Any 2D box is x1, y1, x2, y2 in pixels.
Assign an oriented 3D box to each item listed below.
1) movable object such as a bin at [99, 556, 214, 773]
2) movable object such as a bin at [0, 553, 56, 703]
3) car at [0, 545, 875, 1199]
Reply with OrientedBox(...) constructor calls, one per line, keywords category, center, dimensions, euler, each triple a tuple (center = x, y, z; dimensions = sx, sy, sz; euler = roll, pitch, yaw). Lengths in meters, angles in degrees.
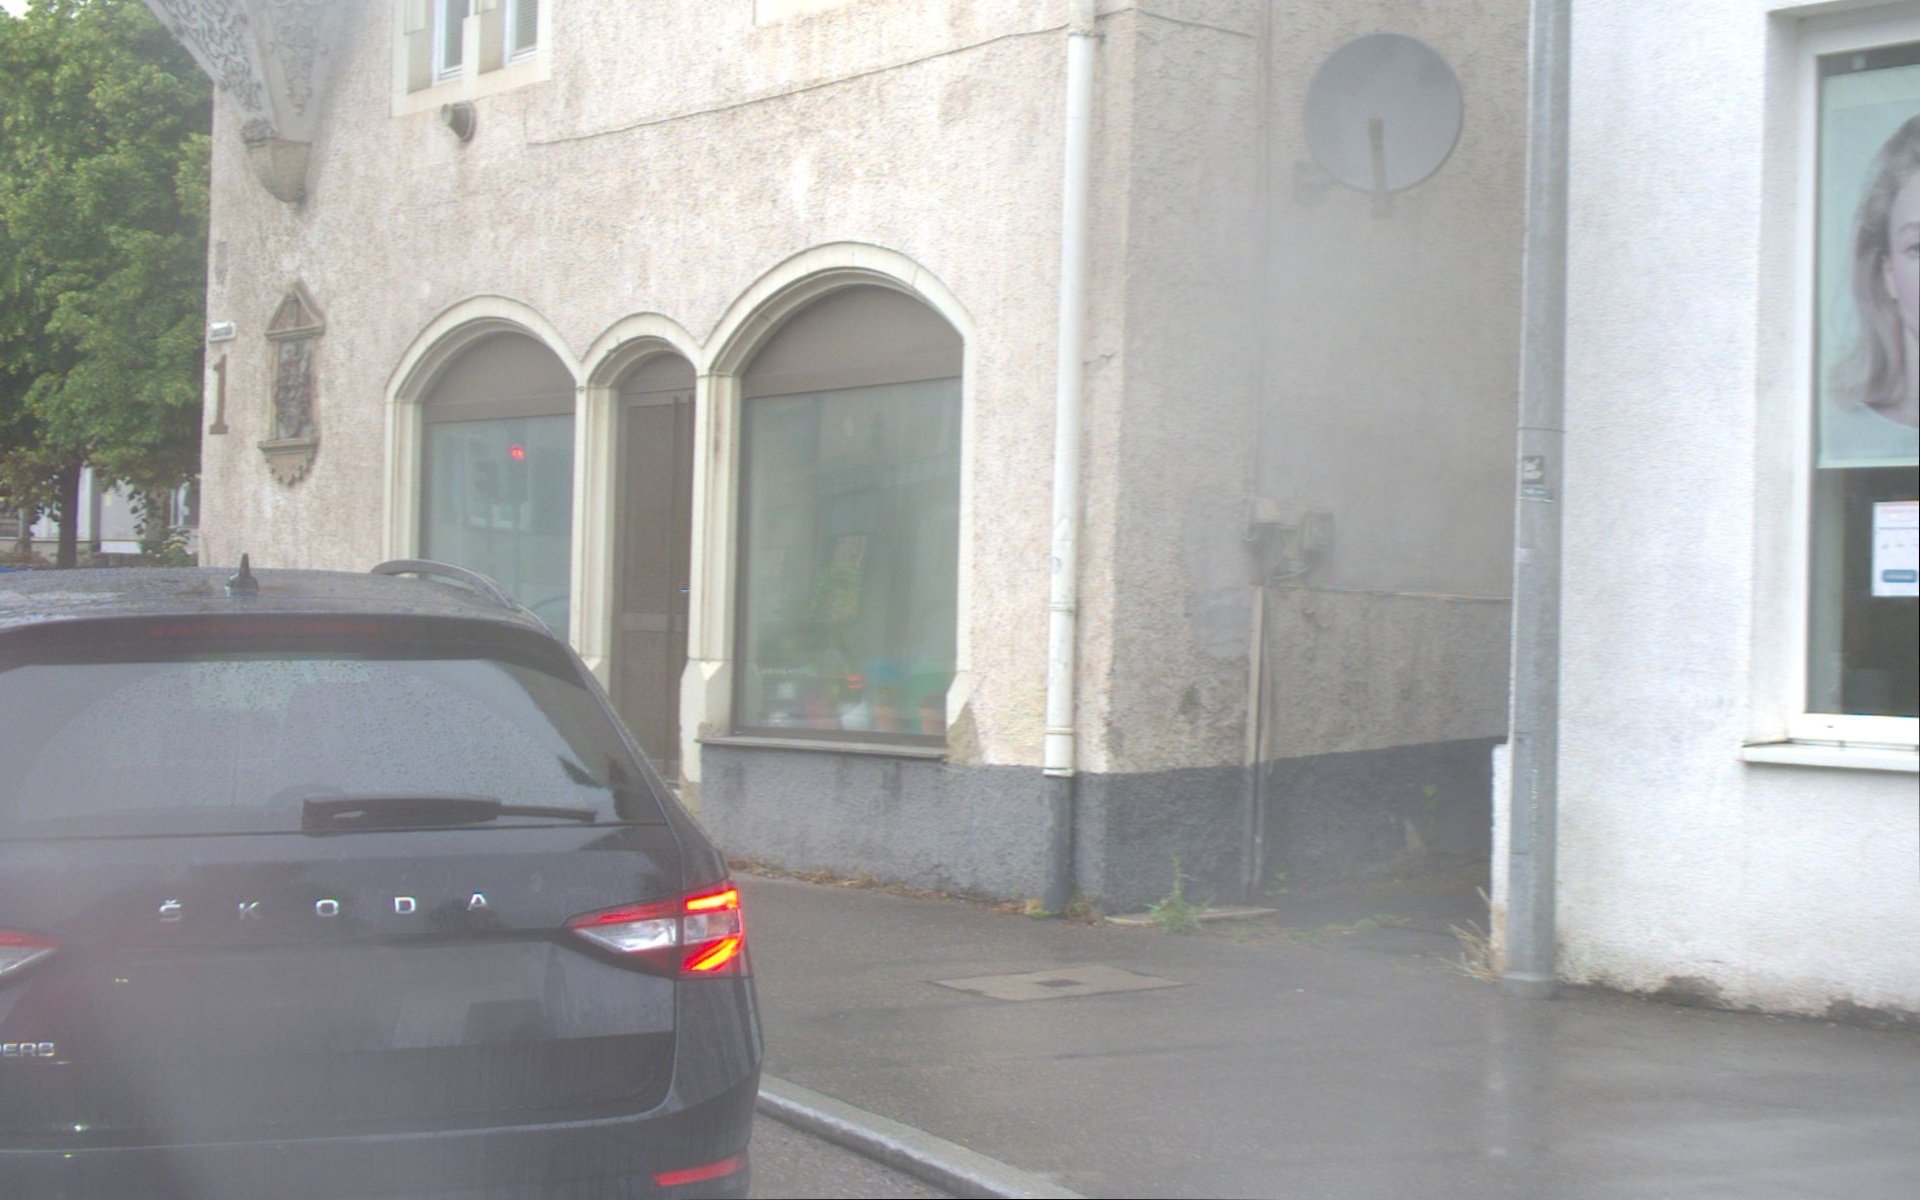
OrientedBox(category="movable object such as a bin", center=(-5.541, 0.435, 23.699), dimensions=(0.643, 1.437, 0.412), euler=(5, 4, 36))
OrientedBox(category="movable object such as a bin", center=(-8.799, 0.232, 30.745), dimensions=(1.154, 1.308, 1.187), euler=(2, 0, -25))
OrientedBox(category="car", center=(-1.736, 0.629, 7.384), dimensions=(1.886, 1.443, 4.358), euler=(1, 1, -18))
